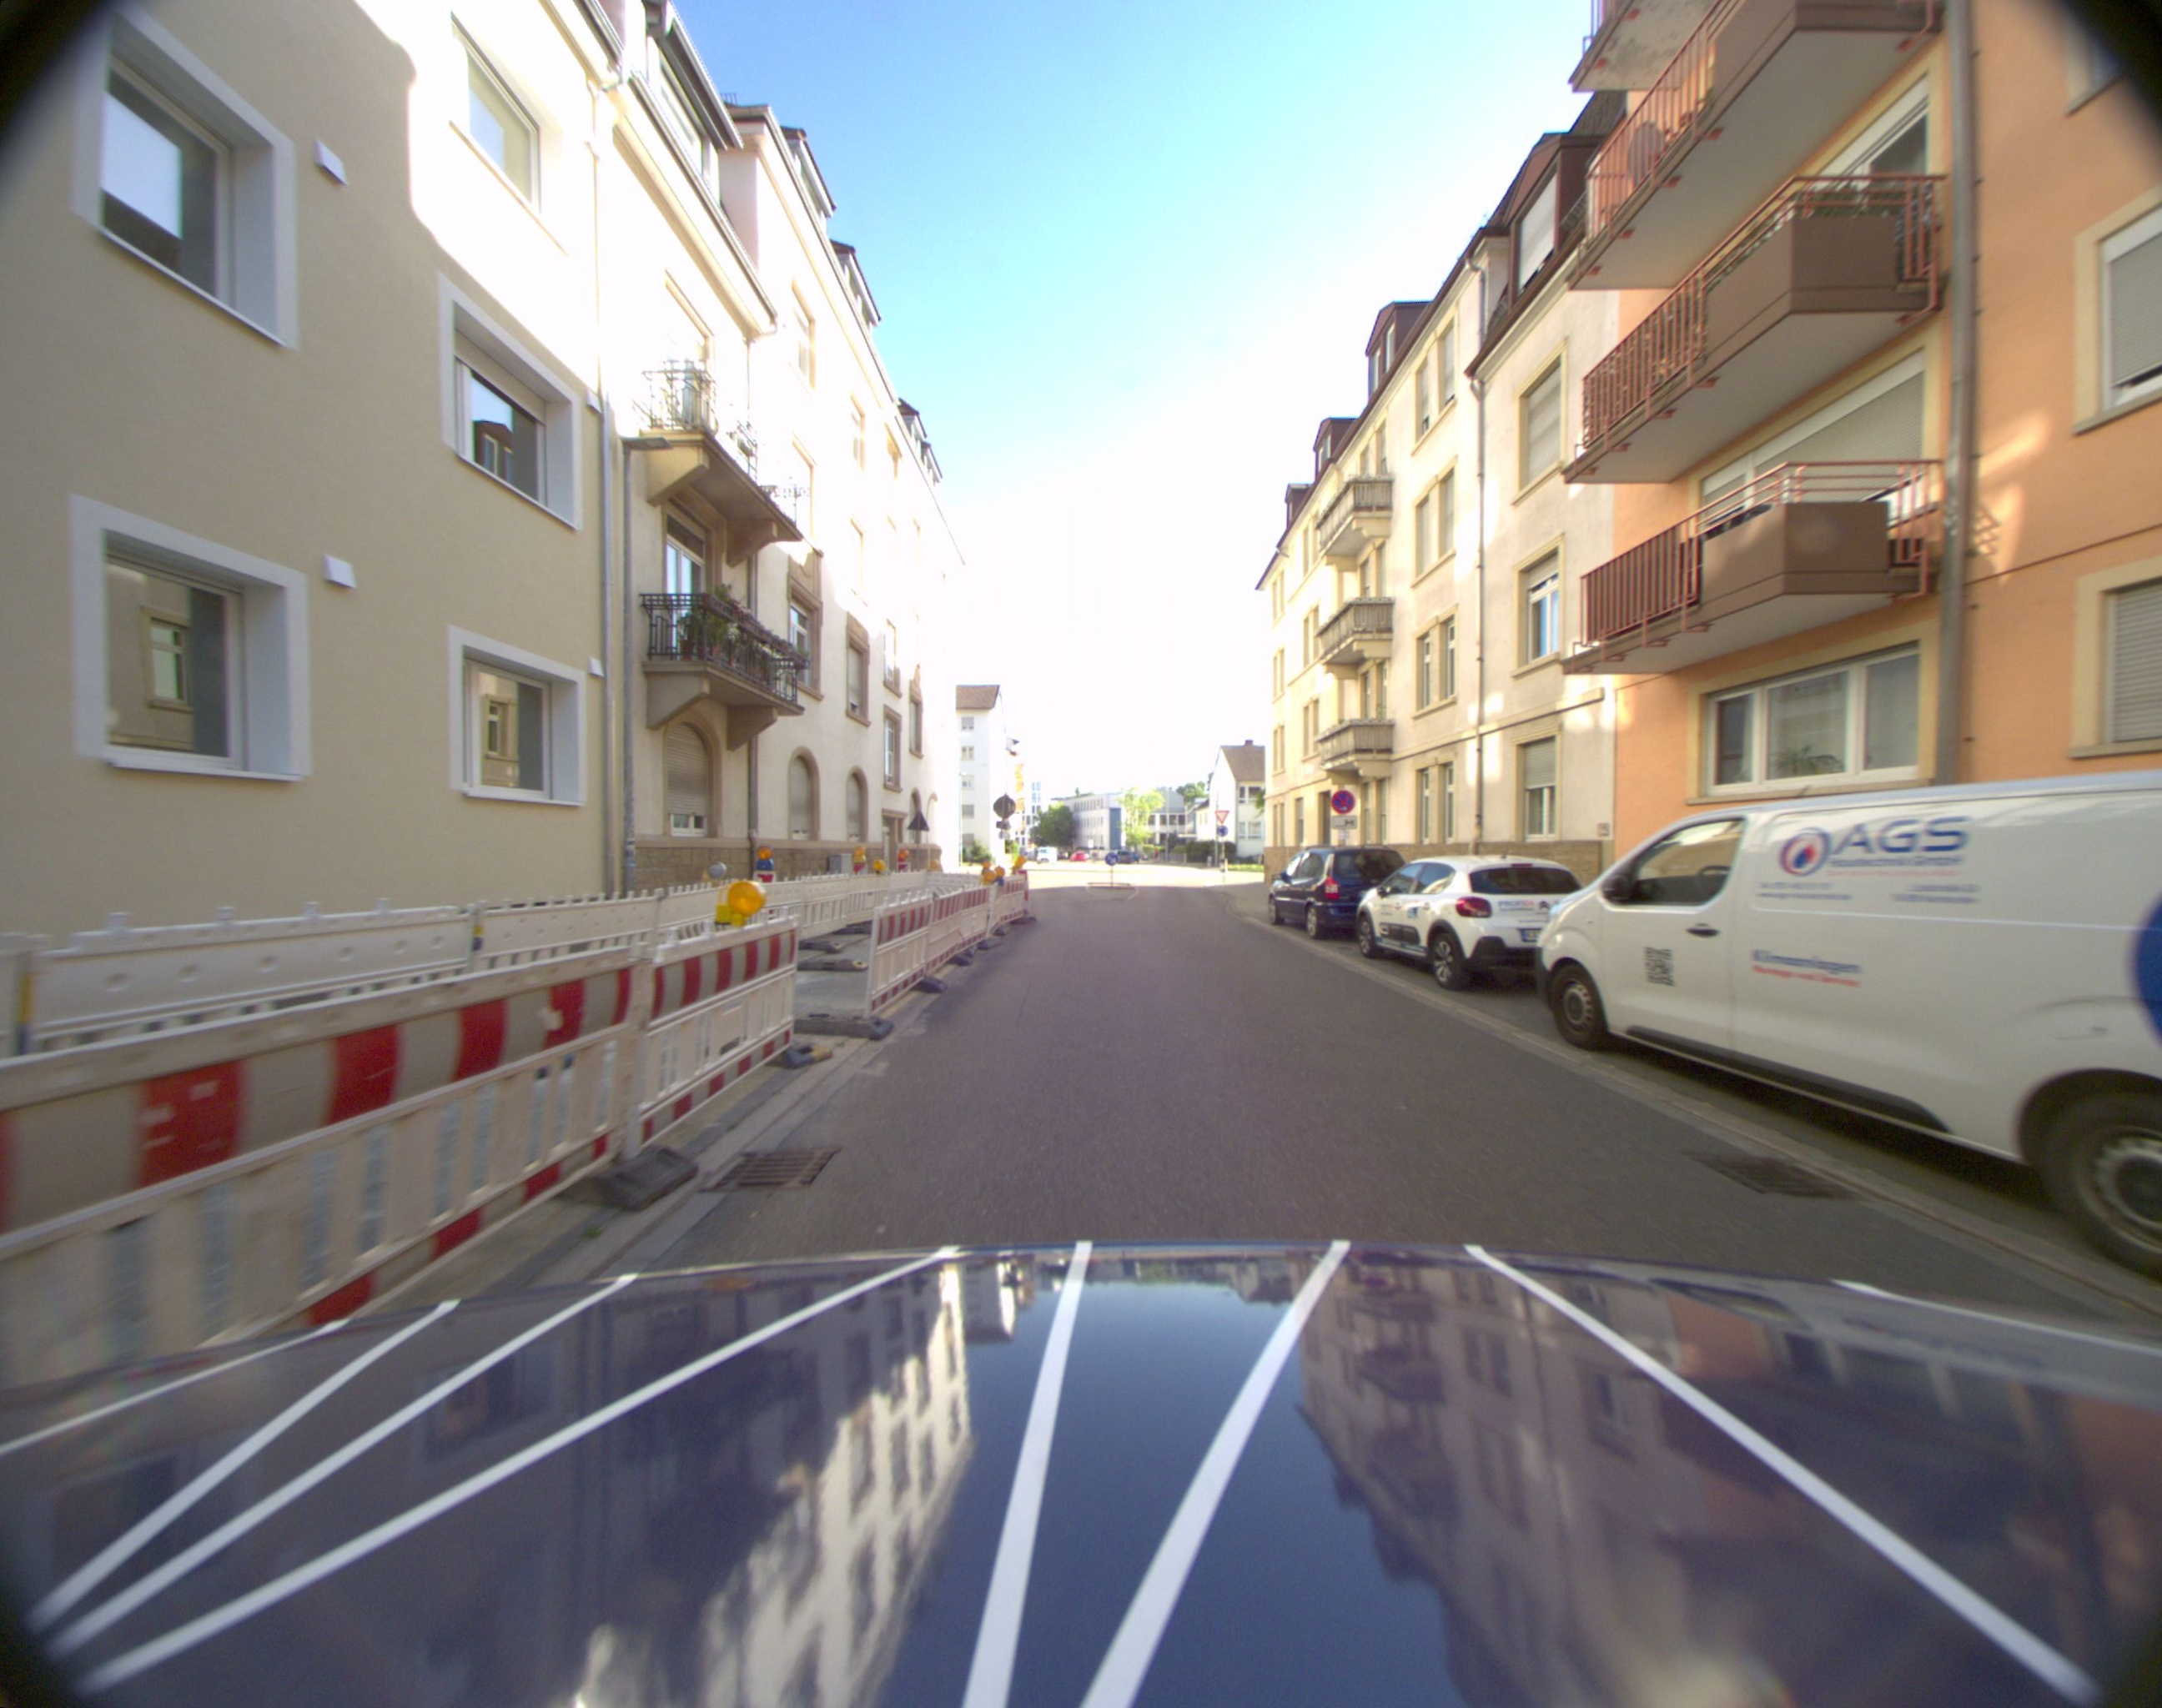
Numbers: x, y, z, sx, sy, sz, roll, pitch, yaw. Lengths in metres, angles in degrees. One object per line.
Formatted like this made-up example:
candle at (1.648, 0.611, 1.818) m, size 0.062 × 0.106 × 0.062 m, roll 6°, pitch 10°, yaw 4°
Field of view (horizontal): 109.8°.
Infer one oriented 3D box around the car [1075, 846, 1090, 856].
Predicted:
car at (0.172, -0.473, 112.572) m, size 1.717 × 1.374 × 3.997 m, roll 1°, pitch 0°, yaw -6°

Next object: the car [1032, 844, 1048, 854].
car at (-6.324, -0.812, 117.207) m, size 1.760 × 1.445 × 3.994 m, roll 3°, pitch 0°, yaw -13°

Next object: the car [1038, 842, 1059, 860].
car at (-3.867, -0.419, 91.394) m, size 1.998 × 2.002 × 4.797 m, roll 2°, pitch 1°, yaw 2°

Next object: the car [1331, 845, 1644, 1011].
car at (4.836, 0.731, 9.856) m, size 1.767 × 1.612 × 4.294 m, roll -2°, pitch 1°, yaw 1°

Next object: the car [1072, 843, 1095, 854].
car at (0.388, -0.945, 125.700) m, size 2.141 × 1.604 × 4.826 m, roll -3°, pitch 2°, yaw -21°

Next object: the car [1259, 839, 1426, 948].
car at (4.847, 0.621, 14.762) m, size 1.767 × 1.761 × 4.293 m, roll -2°, pitch 1°, yaw 1°

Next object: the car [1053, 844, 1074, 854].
car at (-3.076, -0.840, 134.245) m, size 2.141 × 1.604 × 4.826 m, roll -3°, pitch 2°, yaw -20°

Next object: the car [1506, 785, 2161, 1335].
car at (4.736, 0.665, 4.058) m, size 1.980 × 1.914 × 5.308 m, roll -2°, pitch 1°, yaw 1°

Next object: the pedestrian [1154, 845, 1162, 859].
pedestrian at (9.303, -0.281, 92.063) m, size 0.819 × 1.696 × 0.997 m, roll -2°, pitch 2°, yaw -3°

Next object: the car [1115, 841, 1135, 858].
car at (4.582, -0.448, 80.068) m, size 1.879 × 1.686 × 4.273 m, roll -1°, pitch 0°, yaw 1°
